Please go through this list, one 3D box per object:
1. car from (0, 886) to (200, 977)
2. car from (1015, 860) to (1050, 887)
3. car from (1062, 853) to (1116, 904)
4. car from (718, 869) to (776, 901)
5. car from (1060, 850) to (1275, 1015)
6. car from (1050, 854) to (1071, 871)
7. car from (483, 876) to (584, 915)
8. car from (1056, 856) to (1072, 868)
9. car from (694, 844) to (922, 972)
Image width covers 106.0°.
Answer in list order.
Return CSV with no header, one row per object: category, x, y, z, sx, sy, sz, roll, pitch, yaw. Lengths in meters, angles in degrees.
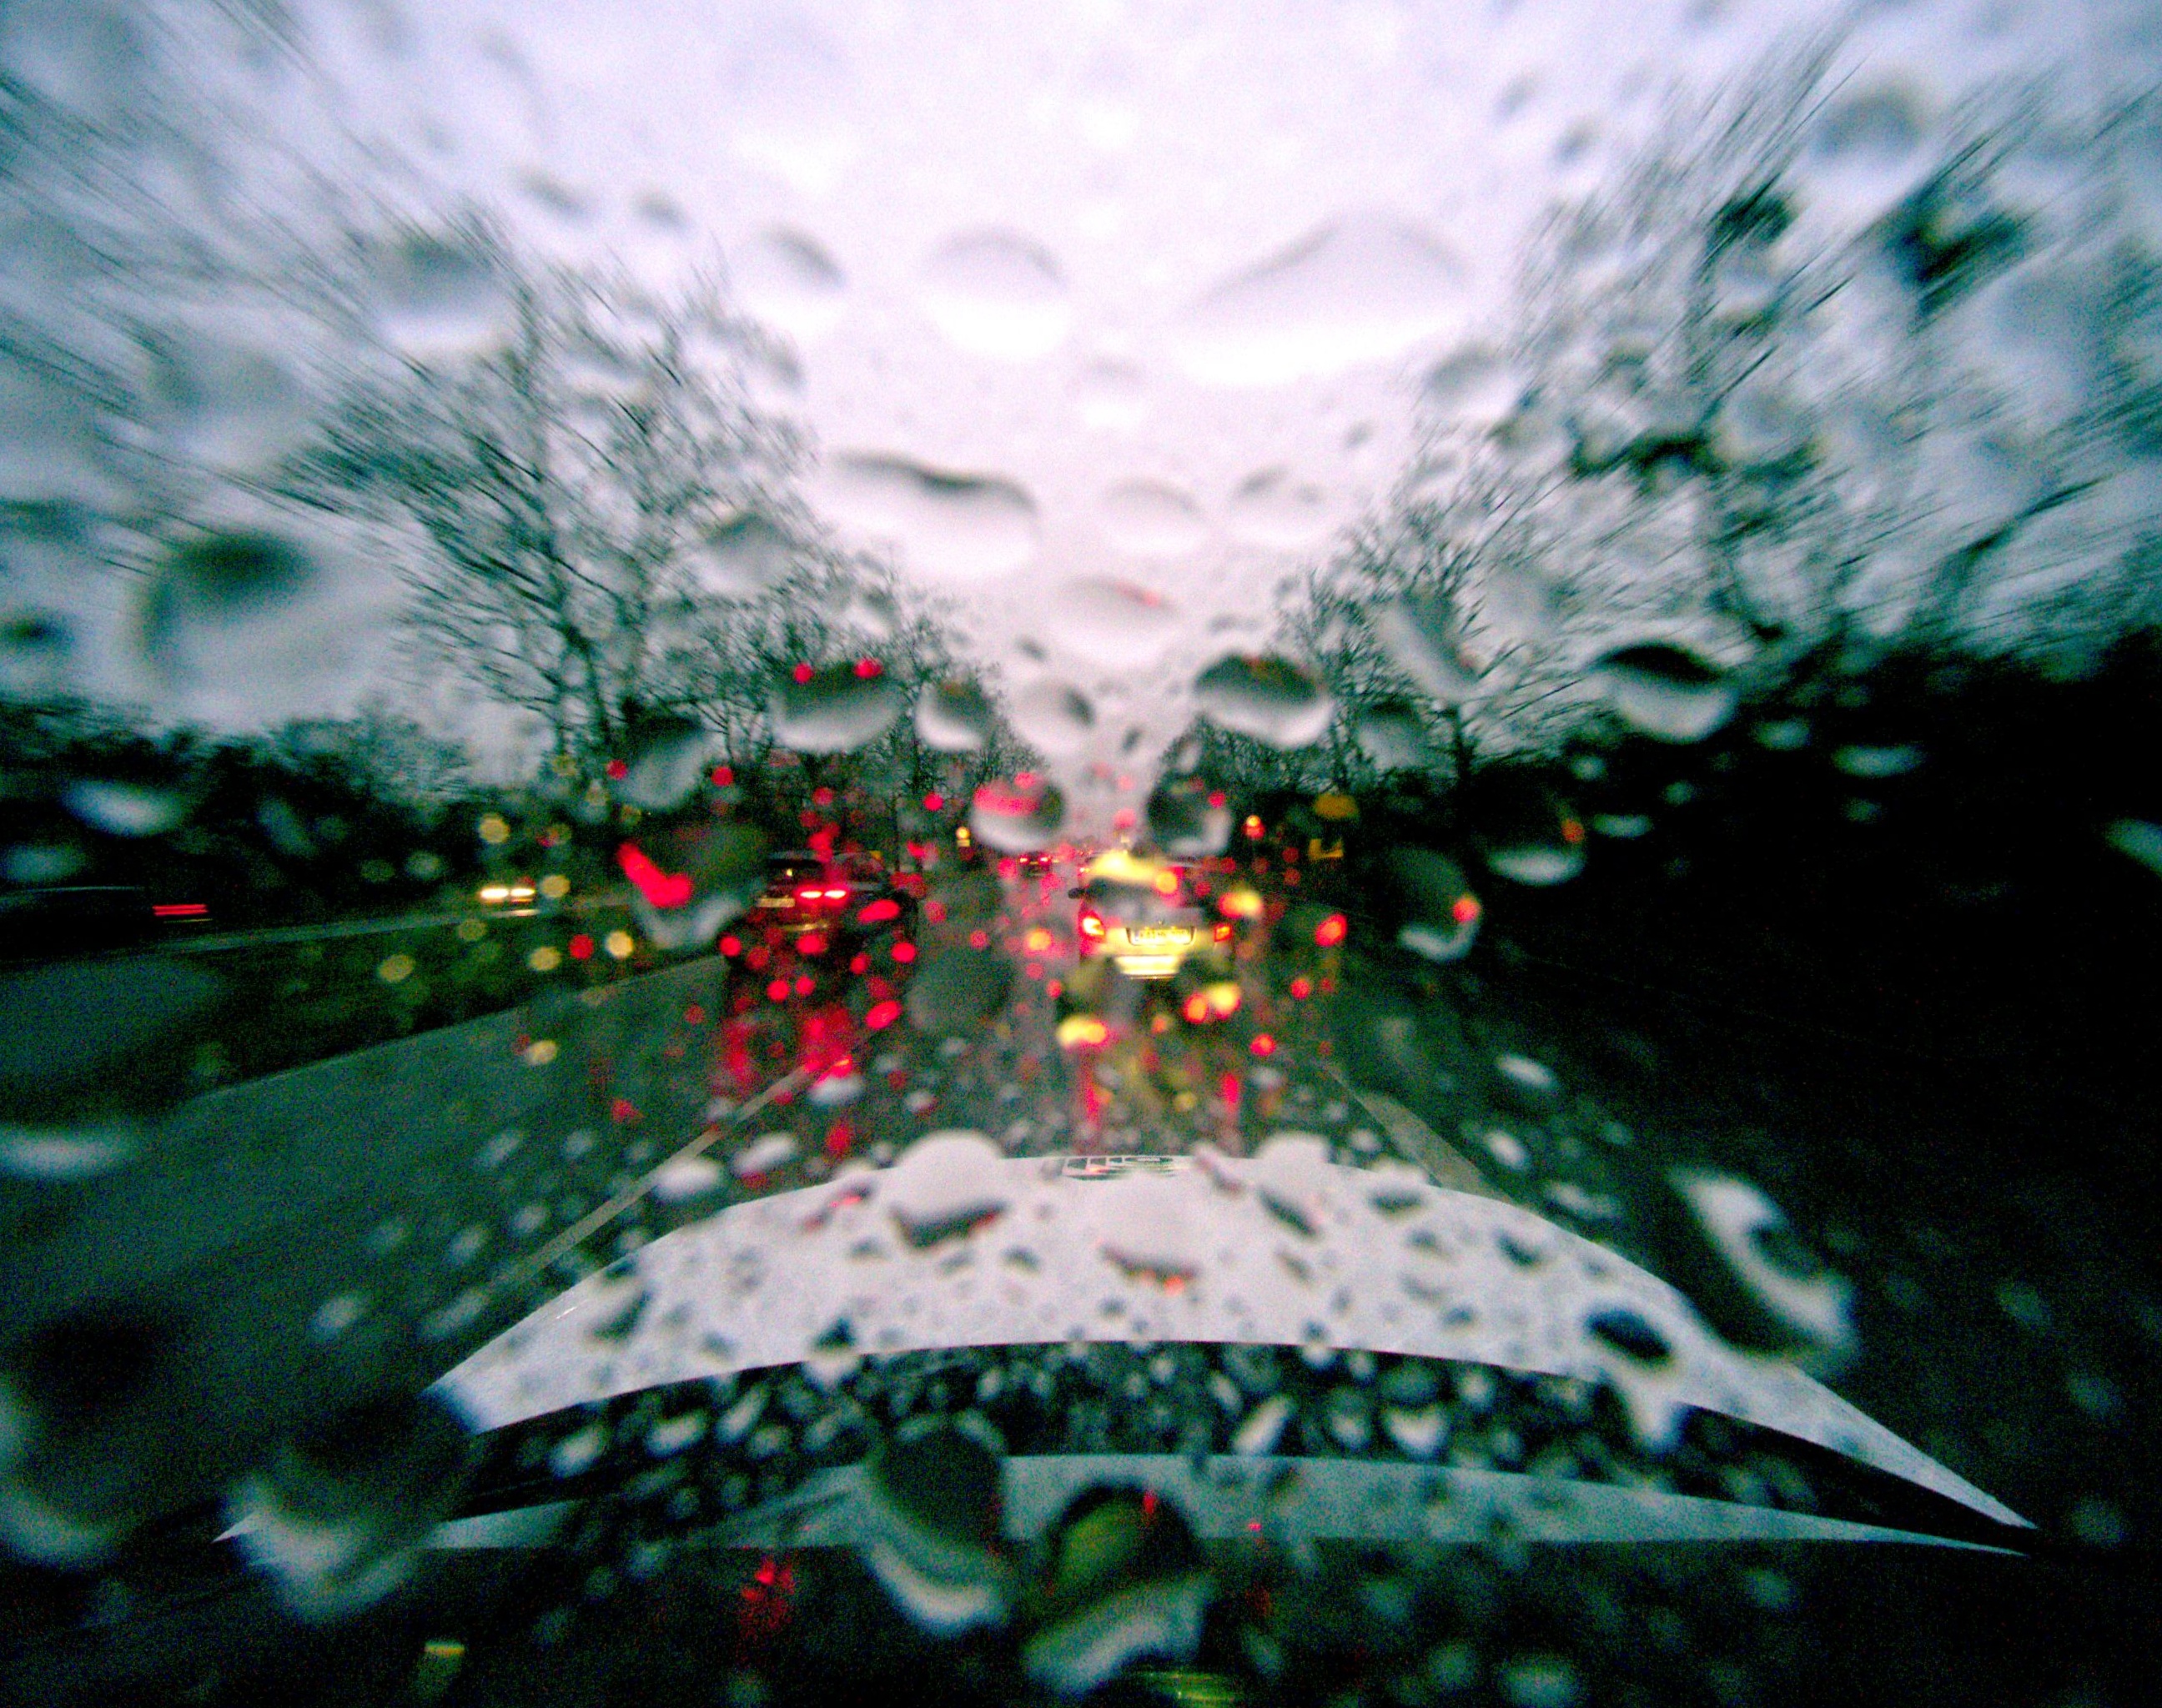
car,-20.375,1.490,15.767,1.777,1.533,4.379,-2,0,2
car,-3.018,1.192,51.406,1.783,1.545,4.001,-2,0,1
car,0.368,0.906,31.442,1.890,1.767,4.310,-2,0,2
car,-19.449,1.762,47.566,1.611,1.681,3.983,-2,0,2
car,0.878,0.751,9.759,1.986,1.500,4.139,-2,0,2
car,-1.923,0.846,79.065,1.783,1.545,4.001,-2,0,1
car,-23.118,1.720,34.567,1.626,1.468,3.792,-2,0,2
car,-2.052,0.991,100.932,1.783,1.483,4.001,-2,0,1
car,-3.846,0.683,12.369,1.987,1.601,4.308,0,0,0
